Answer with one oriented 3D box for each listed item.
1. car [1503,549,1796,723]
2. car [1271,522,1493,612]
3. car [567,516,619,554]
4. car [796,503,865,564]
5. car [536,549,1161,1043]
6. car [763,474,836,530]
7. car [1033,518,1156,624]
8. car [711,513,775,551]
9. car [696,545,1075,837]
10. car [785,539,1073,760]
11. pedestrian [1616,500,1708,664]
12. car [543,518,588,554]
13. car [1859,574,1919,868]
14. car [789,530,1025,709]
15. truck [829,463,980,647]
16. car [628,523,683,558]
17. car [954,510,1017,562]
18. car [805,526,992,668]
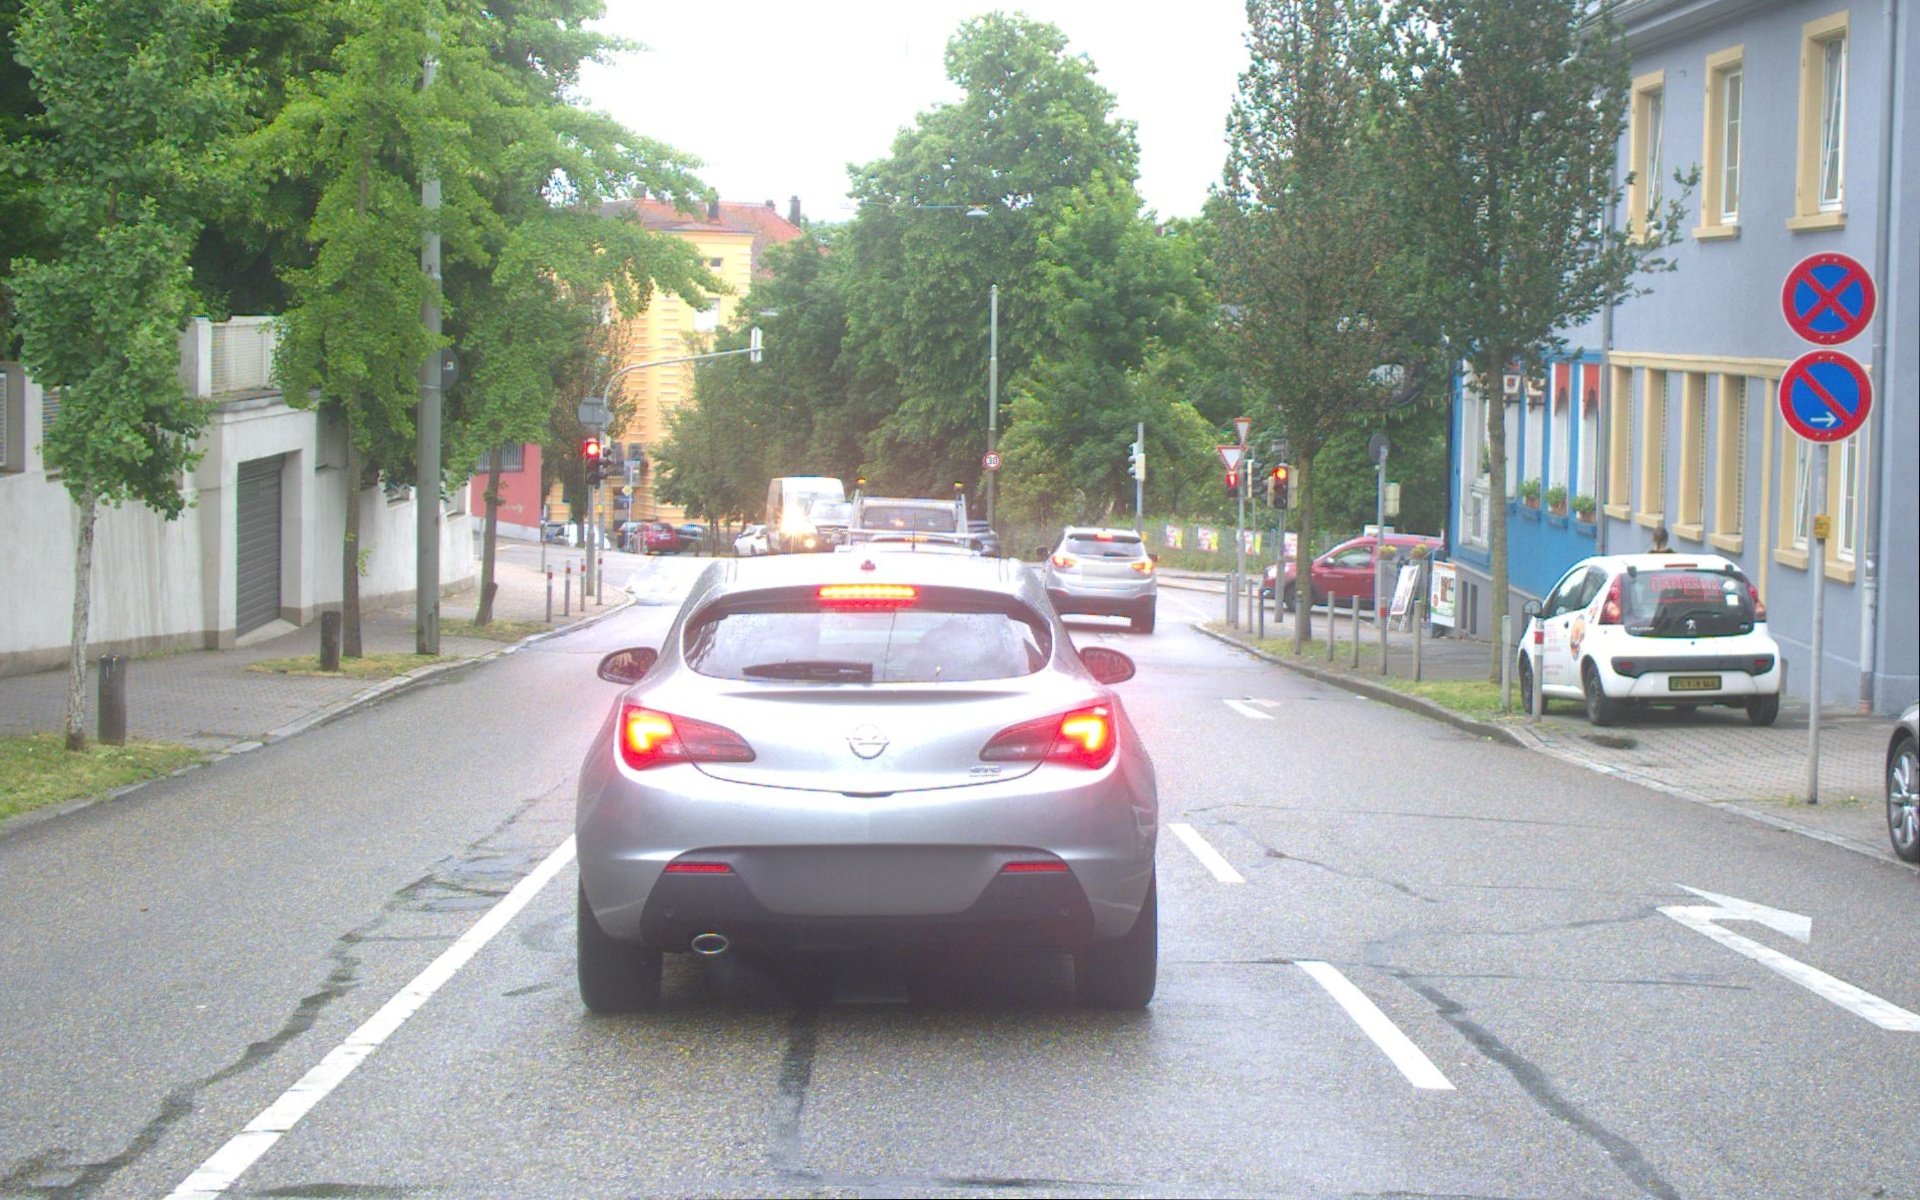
[{"bbox_3d":[6.081,0.272,30.729,1.722,1.443,3.880,0,1,-2],"label":"car"},{"bbox_3d":[8.848,-0.699,72.311,4.444,1.822,1.752,-1,1,1],"label":"car"},{"bbox_3d":[-14.202,-2.529,133.157,1.722,1.455,3.880,0,1,-2],"label":"car"},{"bbox_3d":[-3.554,-1.823,94.618,1.870,1.632,3.880,0,1,-2],"label":"car"},{"bbox_3d":[-0.415,0.558,12.162,1.837,1.429,3.880,1,1,-3],"label":"car"},{"bbox_3d":[-4.803,-2.893,102.239,1.722,1.632,3.881,0,1,-9],"label":"car"},{"bbox_3d":[2.208,-0.504,57.150,1.722,1.708,3.880,0,1,-3],"label":"car"},{"bbox_3d":[-8.945,-2.778,141.340,1.722,1.538,3.881,0,1,-18],"label":"car"},{"bbox_3d":[-0.461,0.449,20.360,1.962,1.443,4.306,2,1,-2],"label":"car"},{"bbox_3d":[-0.283,0.308,26.081,1.962,1.443,4.306,2,1,-2],"label":"car"},{"bbox_3d":[7.562,-0.200,37.064,0.783,1.723,0.651,2,1,0],"label":"pedestrian"},{"bbox_3d":[-18.671,-3.008,162.650,1.722,1.632,3.881,2,0,-12],"label":"car"},{"bbox_3d":[5.815,0.655,15.851,1.962,1.443,4.527,1,1,-3],"label":"car"},{"bbox_3d":[-0.522,0.121,31.459,1.962,1.443,4.306,2,1,-2],"label":"car"},{"bbox_3d":[-0.835,-0.671,49.111,1.962,2.420,4.936,2,1,-2],"label":"truck"},{"bbox_3d":[-14.179,-2.768,160.102,1.722,1.632,3.881,0,1,-18],"label":"car"},{"bbox_3d":[0.818,-2.071,110.918,1.722,1.632,3.880,0,1,-4],"label":"car"},{"bbox_3d":[-0.730,-0.079,39.118,1.962,1.443,4.306,2,1,-2],"label":"car"}]
